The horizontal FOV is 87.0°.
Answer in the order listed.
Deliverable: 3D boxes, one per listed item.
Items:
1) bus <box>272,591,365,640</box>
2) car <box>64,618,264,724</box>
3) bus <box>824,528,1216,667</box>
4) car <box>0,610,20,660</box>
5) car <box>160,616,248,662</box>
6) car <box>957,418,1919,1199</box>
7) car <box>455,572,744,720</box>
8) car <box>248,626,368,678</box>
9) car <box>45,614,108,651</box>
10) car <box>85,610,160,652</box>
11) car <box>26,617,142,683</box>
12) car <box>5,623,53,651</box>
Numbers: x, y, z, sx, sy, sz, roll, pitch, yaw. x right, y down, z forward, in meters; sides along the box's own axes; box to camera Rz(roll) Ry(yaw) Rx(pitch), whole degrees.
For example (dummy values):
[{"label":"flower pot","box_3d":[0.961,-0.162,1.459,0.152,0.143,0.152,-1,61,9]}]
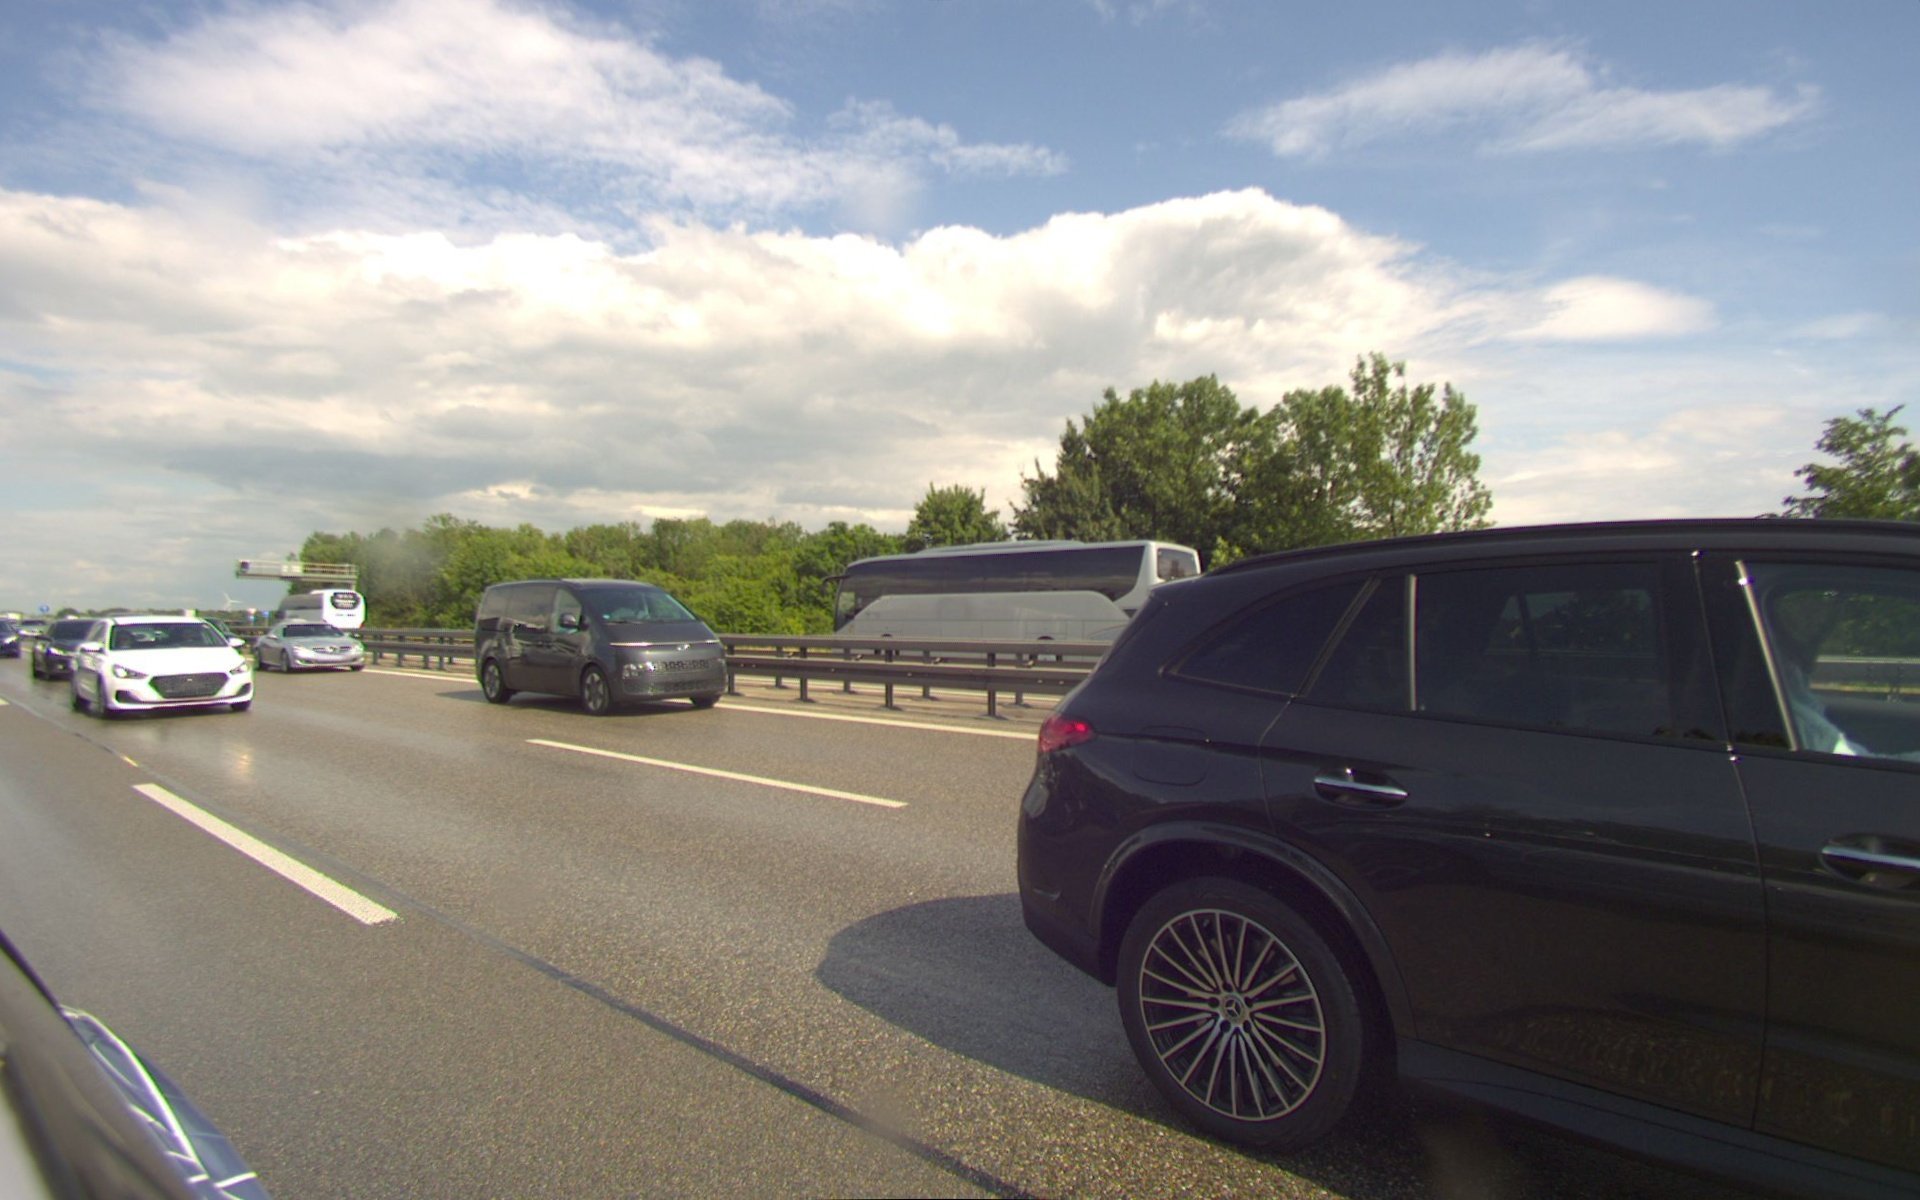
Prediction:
[{"label":"bus","box_3d":[-47.351,1.155,74.476,12.472,3.399,2.859,-1,-1,44]},{"label":"car","box_3d":[-12.279,0.984,15.509,4.240,1.408,1.785,-1,-2,43]},{"label":"bus","box_3d":[1.152,0.037,29.330,12.208,3.311,2.908,-1,-1,42]},{"label":"car","box_3d":[-35.288,1.255,36.334,3.998,1.730,1.865,-1,-1,41]},{"label":"car","box_3d":[-25.031,1.261,33.460,3.999,1.431,1.597,-1,-1,42]},{"label":"car","box_3d":[2.336,0.528,2.410,4.624,1.692,1.857,-1,-1,41]},{"label":"car","box_3d":[-5.726,0.641,15.677,5.234,1.932,1.972,-1,-1,42]},{"label":"car","box_3d":[-16.750,1.275,25.941,3.584,1.198,1.832,-1,-1,44]},{"label":"car","box_3d":[-44.628,1.626,51.077,3.998,1.763,1.876,-1,-1,41]},{"label":"car","box_3d":[-36.412,1.321,43.966,3.998,1.763,1.876,-1,-1,41]},{"label":"car","box_3d":[-20.645,1.125,23.810,3.999,1.409,1.576,-1,-1,42]},{"label":"car","box_3d":[-60.669,2.363,65.915,3.998,1.763,1.876,-1,-1,41]}]
